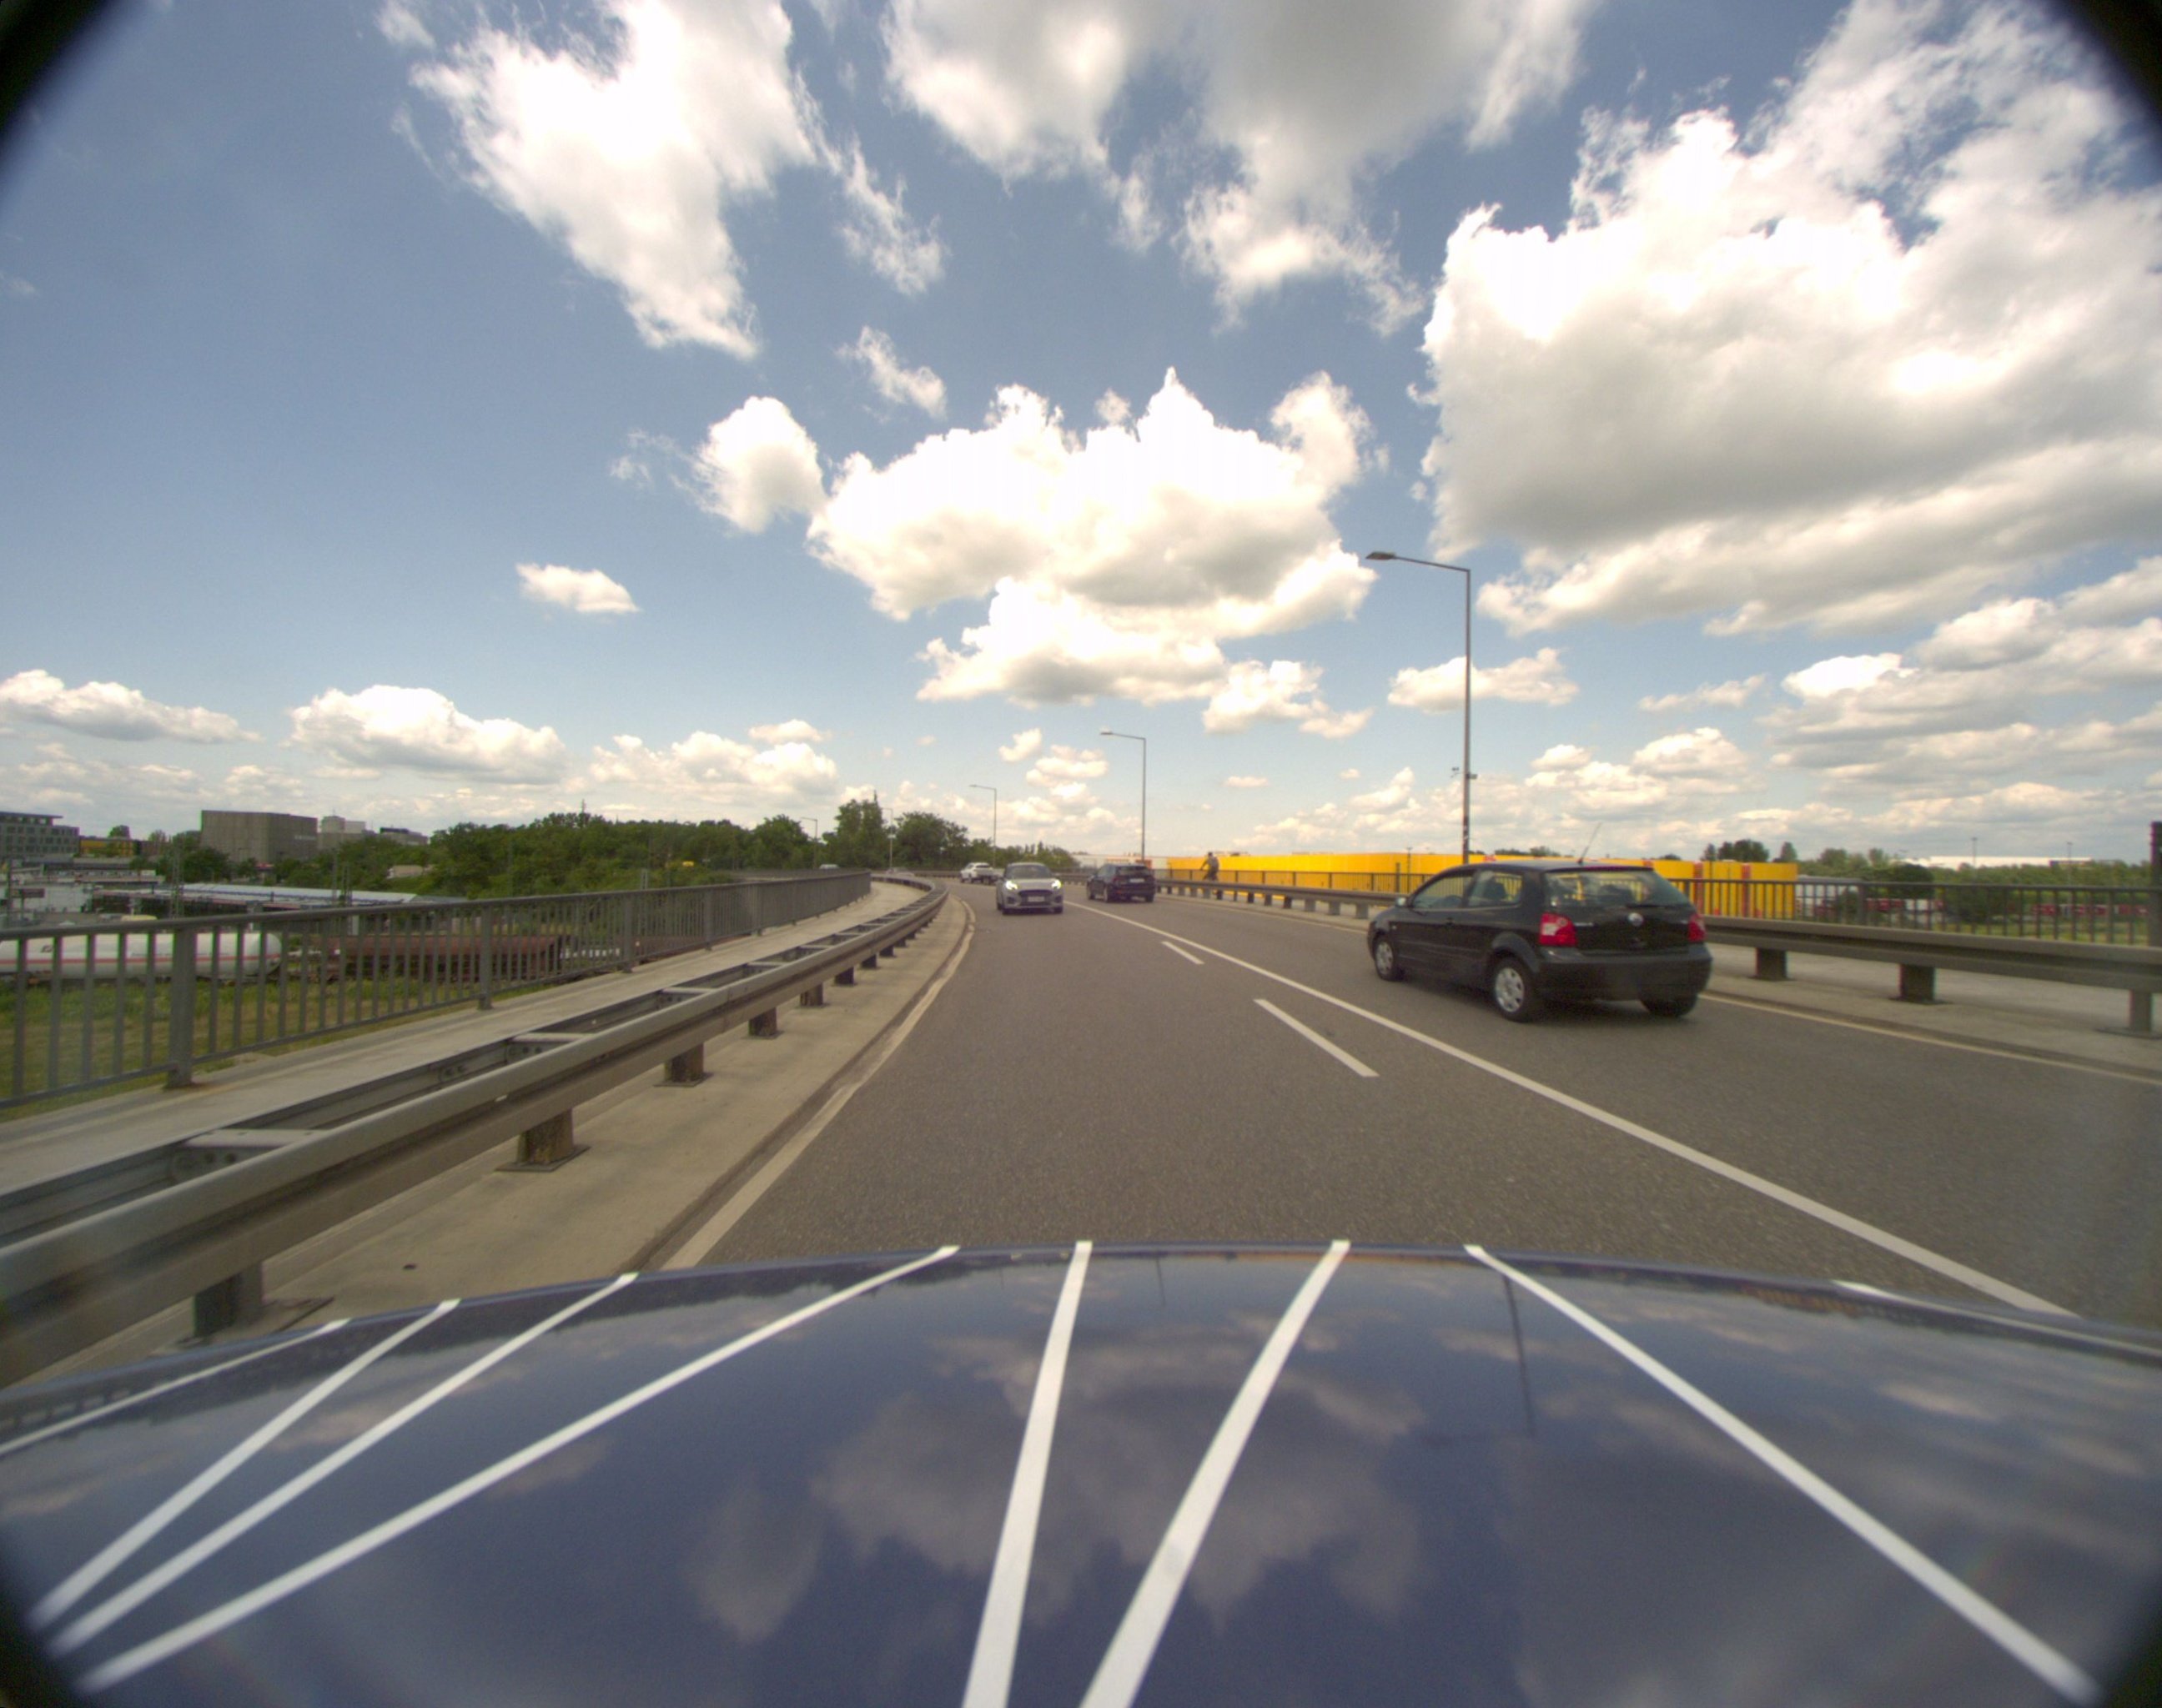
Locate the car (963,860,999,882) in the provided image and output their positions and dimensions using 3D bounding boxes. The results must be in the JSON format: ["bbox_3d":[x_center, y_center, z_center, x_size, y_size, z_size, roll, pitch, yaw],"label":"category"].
[{"bbox_3d":[-7.509,1.227,56.611,1.814,1.526,4.342,-1,0,-19],"label":"car"}]

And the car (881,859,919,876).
[{"bbox_3d":[-15.172,1.142,63.642,1.832,1.330,3.989,1,0,-34],"label":"car"}]

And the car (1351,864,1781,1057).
[{"bbox_3d":[4.587,0.872,8.019,1.820,1.443,3.925,-2,0,-4],"label":"car"}]

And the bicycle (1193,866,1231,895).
[{"bbox_3d":[5.374,1.071,31.262,0.771,1.088,2.113,0,0,-13],"label":"bicycle"}]

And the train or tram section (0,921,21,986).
[{"bbox_3d":[-79.976,6.578,47.525,17.709,4.130,3.207,1,3,-16],"label":"train or tram section"}]

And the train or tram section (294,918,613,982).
[{"bbox_3d":[-45.850,6.999,56.458,18.905,4.130,3.216,1,3,-12],"label":"train or tram section"}]

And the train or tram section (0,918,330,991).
[{"bbox_3d":[-63.217,6.772,52.244,16.976,4.130,3.212,1,3,-16],"label":"train or tram section"}]

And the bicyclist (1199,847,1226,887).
[{"bbox_3d":[5.395,0.524,31.158,0.770,1.593,0.946,0,0,-13],"label":"bicyclist"}]

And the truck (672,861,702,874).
[{"bbox_3d":[-62.616,2.098,120.678,6.127,2.002,2.004,1,0,40],"label":"truck"}]

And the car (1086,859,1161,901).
[{"bbox_3d":[1.509,0.958,29.154,1.823,1.442,4.733,-1,-1,-10],"label":"car"}]

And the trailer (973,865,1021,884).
[{"bbox_3d":[-5.782,1.360,51.719,2.053,1.202,5.974,-1,0,-18],"label":"trailer"}]

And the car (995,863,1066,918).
[{"bbox_3d":[-1.675,1.063,23.850,1.829,1.516,3.997,-2,0,-9],"label":"car"}]

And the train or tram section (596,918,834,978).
[{"bbox_3d":[-28.164,7.304,59.227,16.605,4.130,3.138,1,2,-6],"label":"train or tram section"}]

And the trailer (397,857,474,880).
[{"bbox_3d":[-129.254,2.874,152.161,14.213,4.255,2.716,-1,0,6],"label":"trailer"}]

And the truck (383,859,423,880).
[{"bbox_3d":[-136.373,3.107,152.910,5.646,4.110,2.771,-1,0,6],"label":"truck"}]
